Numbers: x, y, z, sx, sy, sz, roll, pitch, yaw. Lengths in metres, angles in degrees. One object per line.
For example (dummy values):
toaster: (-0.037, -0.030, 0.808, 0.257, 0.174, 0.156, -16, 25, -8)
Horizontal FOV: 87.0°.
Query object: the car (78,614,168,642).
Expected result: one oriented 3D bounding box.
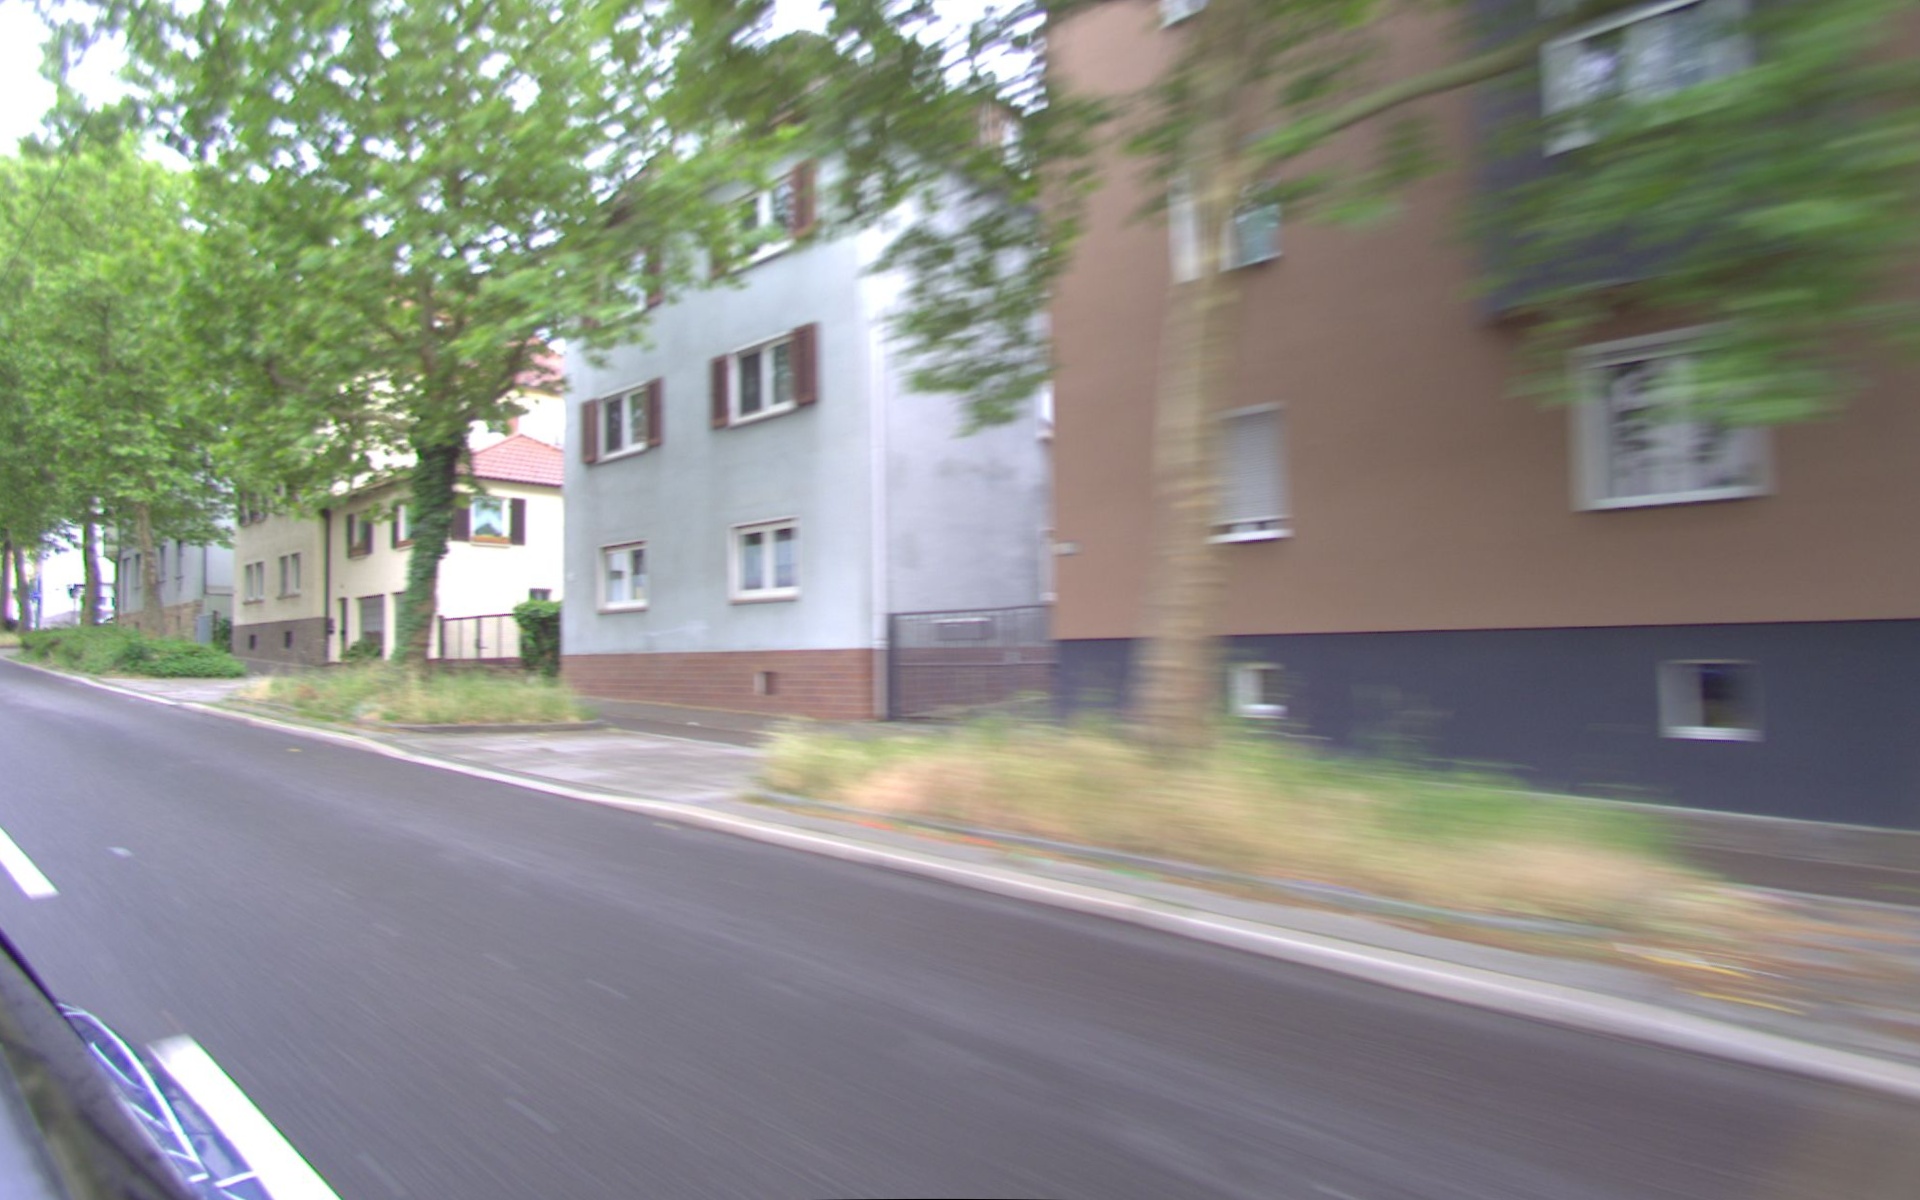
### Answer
car: (-51.439, 1.735, 62.214, 1.999, 1.464, 3.947, -2, 1, 40)
